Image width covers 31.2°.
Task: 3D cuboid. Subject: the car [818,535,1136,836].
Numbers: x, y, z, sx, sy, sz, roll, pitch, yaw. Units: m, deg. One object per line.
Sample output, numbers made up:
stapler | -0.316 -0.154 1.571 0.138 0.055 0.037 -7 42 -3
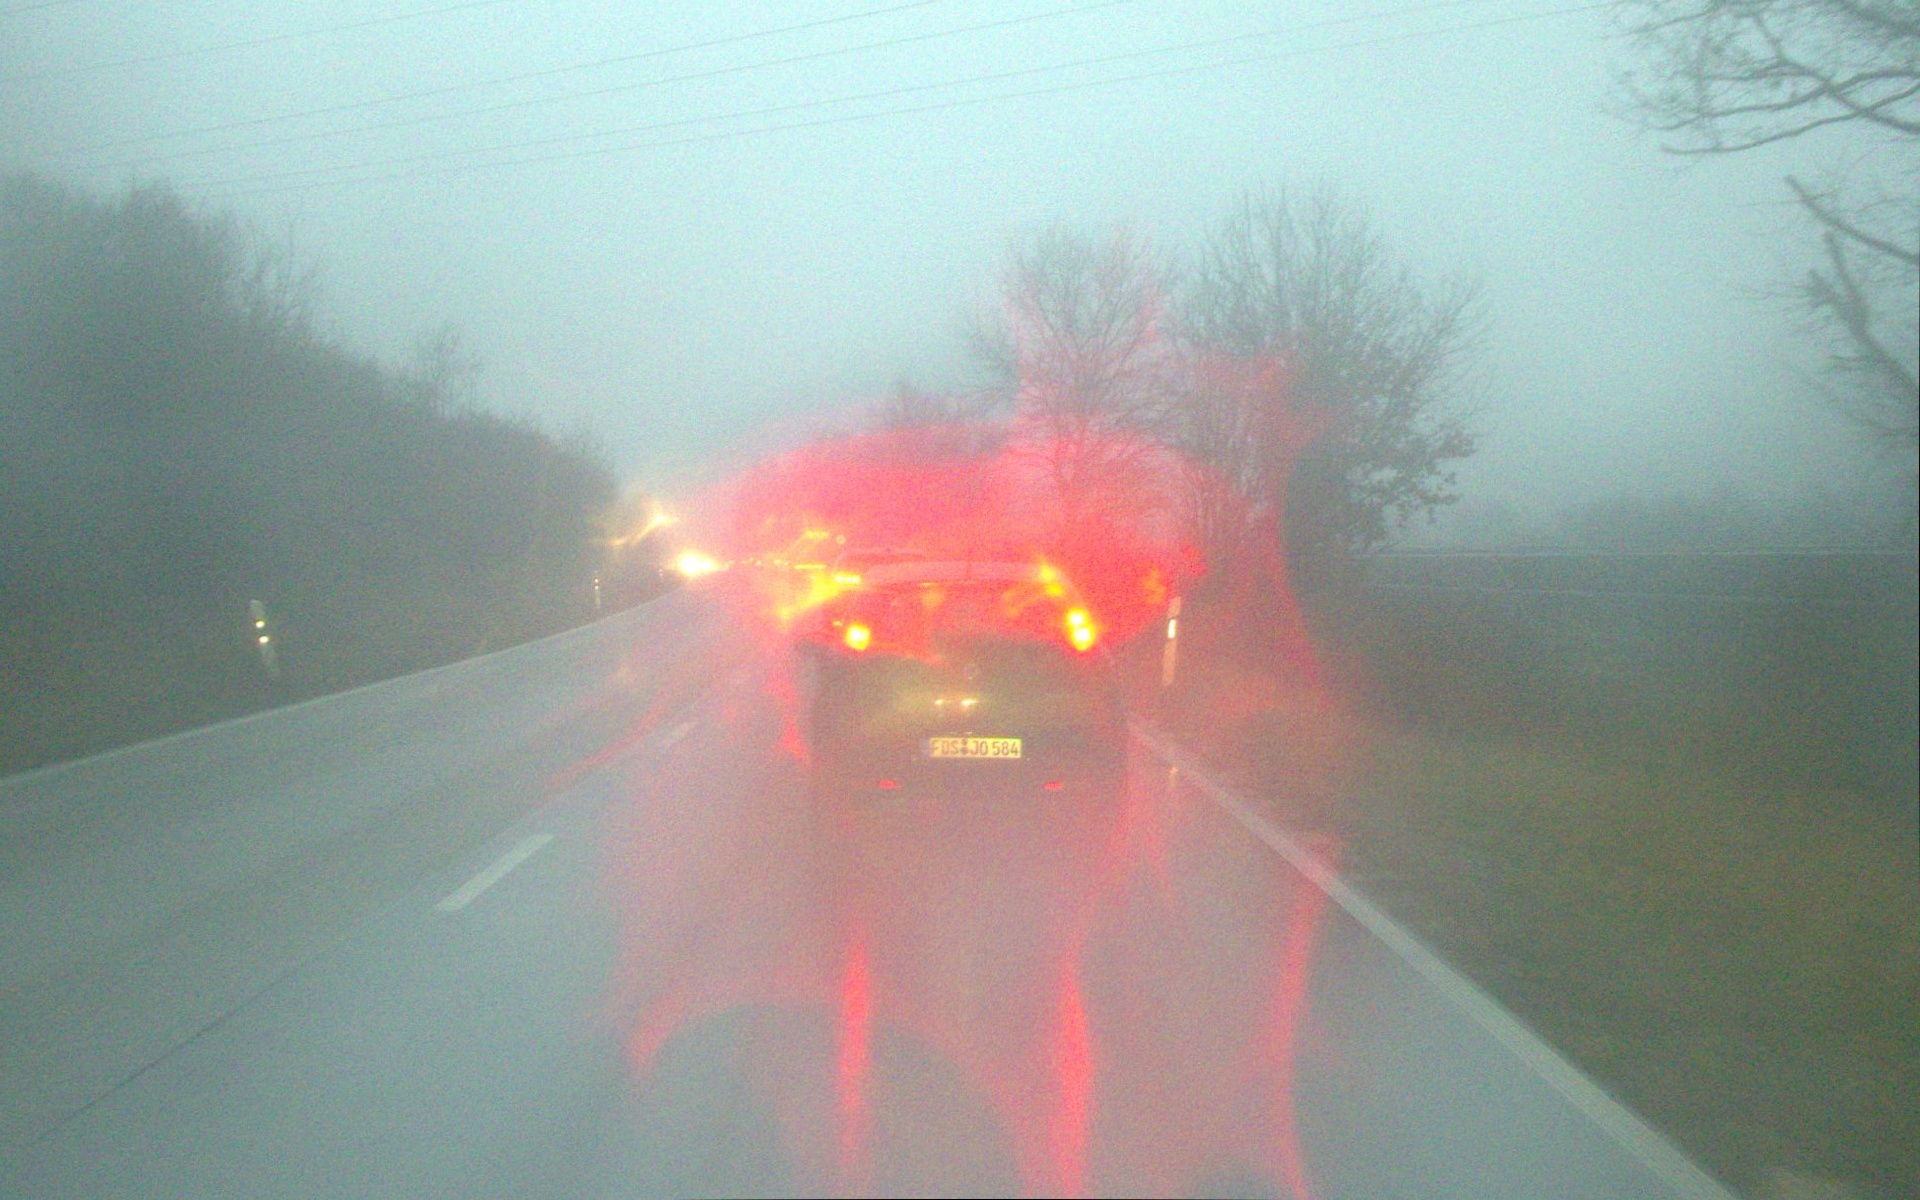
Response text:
car | 0.090 0.405 19.404 1.602 1.517 3.869 1 1 0

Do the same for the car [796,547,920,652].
car | -1.391 -0.031 48.036 1.547 1.392 3.869 1 1 1
